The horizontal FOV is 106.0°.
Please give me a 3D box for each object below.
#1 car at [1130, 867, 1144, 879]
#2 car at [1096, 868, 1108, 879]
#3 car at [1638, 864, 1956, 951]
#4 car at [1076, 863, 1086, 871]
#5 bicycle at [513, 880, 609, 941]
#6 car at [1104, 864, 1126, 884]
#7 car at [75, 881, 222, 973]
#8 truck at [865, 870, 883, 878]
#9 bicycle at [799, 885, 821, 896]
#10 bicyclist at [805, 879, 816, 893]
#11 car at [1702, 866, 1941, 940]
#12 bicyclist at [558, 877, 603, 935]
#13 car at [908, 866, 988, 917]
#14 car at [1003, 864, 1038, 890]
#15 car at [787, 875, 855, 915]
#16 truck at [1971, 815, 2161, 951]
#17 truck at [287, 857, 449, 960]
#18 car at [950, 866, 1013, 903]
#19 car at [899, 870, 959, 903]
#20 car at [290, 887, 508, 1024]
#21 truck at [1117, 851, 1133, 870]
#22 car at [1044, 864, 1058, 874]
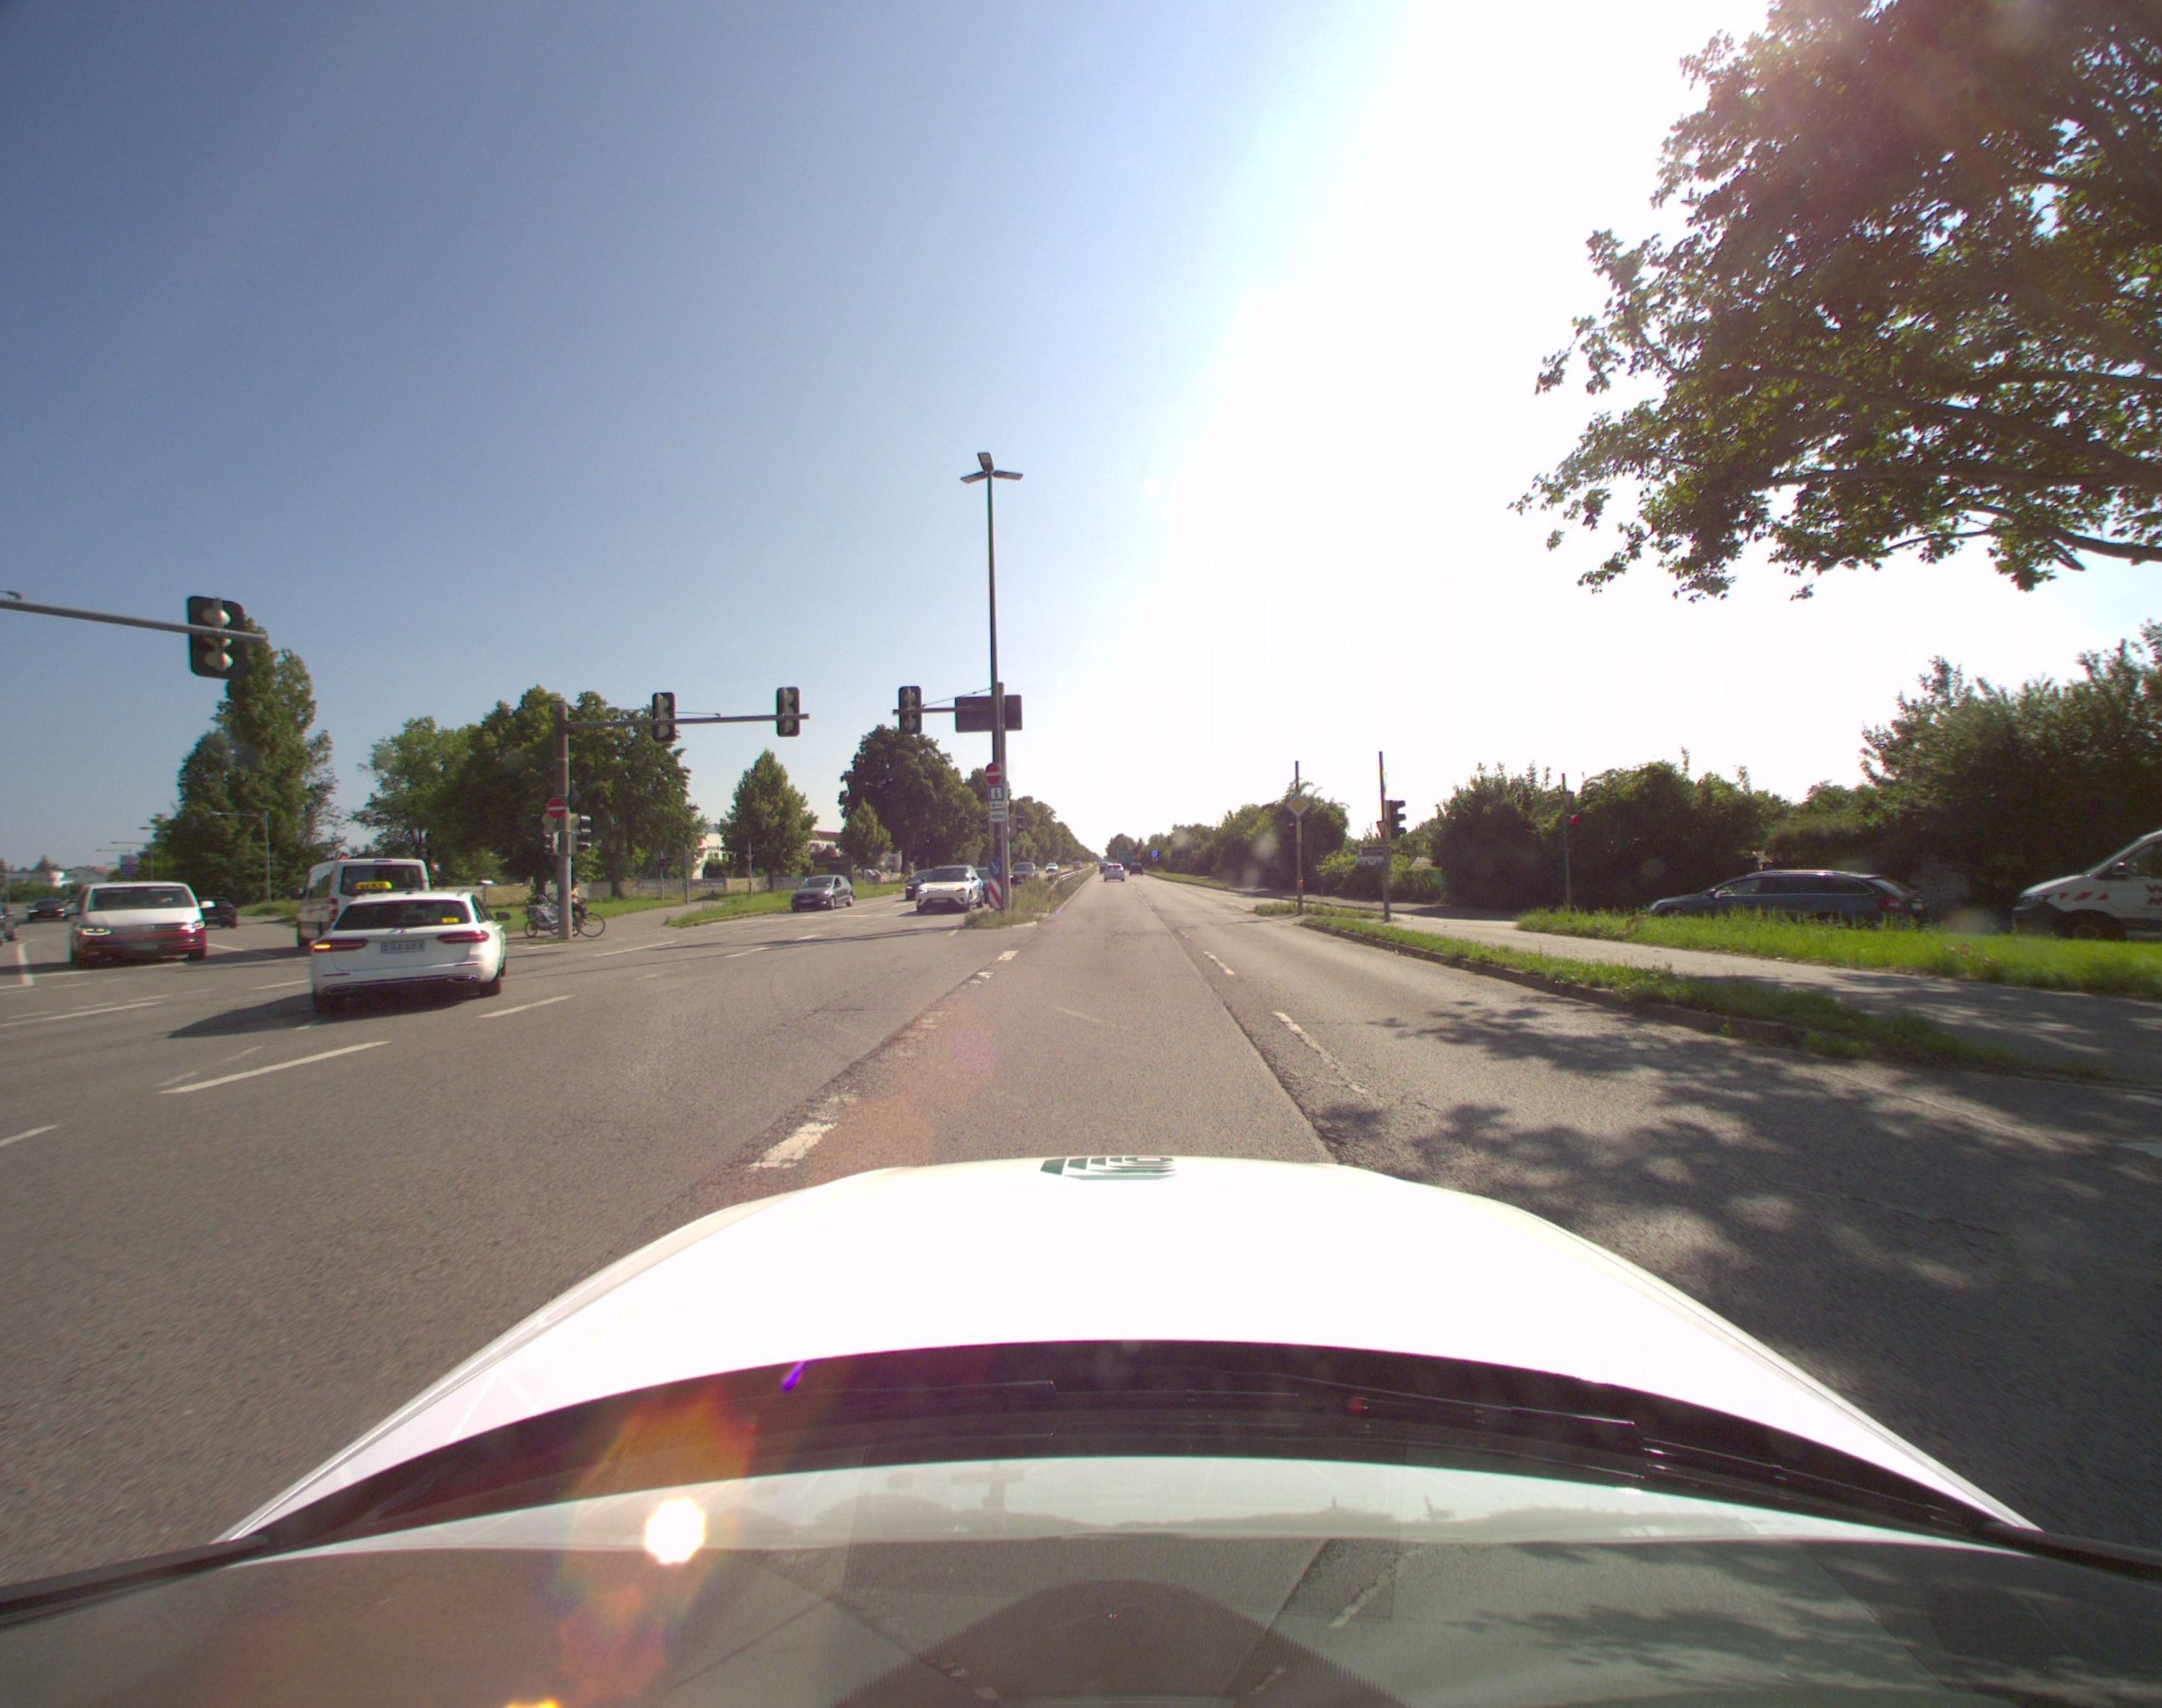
[{"bbox_3d":[6.738,2.291,98.432,1.566,1.414,3.279,0,-1,2],"label":"car"},{"bbox_3d":[2.801,2.605,108.430,1.566,1.414,3.279,-1,-1,2],"label":"car"},{"bbox_3d":[14.694,1.018,17.051,2.005,1.547,4.574,0,-1,-28],"label":"car"},{"bbox_3d":[-0.031,2.549,156.398,1.906,1.502,4.091,-1,-1,0],"label":"car"},{"bbox_3d":[-15.082,1.602,23.613,2.765,1.670,1.143,-1,-1,29],"label":"bicycle"},{"bbox_3d":[2.822,1.648,67.806,1.791,1.553,4.003,0,0,3],"label":"car"},{"bbox_3d":[-22.947,1.702,19.998,4.595,1.950,2.013,-2,-1,37],"label":"car"},{"bbox_3d":[-57.738,5.557,227.631,4.485,2.014,2.052,0,-1,1],"label":"truck"},{"bbox_3d":[-25.512,3.408,76.743,0.832,0.950,2.518,-1,-1,10],"label":"bicycle"},{"bbox_3d":[-25.480,3.026,76.754,0.605,1.217,0.896,-1,-1,11],"label":"bicyclist"},{"bbox_3d":[17.060,1.087,18.975,1.625,1.548,3.789,2,-2,-28],"label":"car"},{"bbox_3d":[-14.255,1.467,23.193,0.854,1.619,0.763,-1,-2,30],"label":"bicyclist"},{"bbox_3d":[-4.650,1.271,29.076,2.003,1.610,4.212,-2,0,1],"label":"car"},{"bbox_3d":[-3.954,1.489,53.568,1.840,1.594,4.617,-2,-1,1],"label":"car"},{"bbox_3d":[-10.860,1.683,34.273,1.480,1.414,3.764,-4,-1,2],"label":"car"},{"bbox_3d":[20.384,0.526,14.064,2.353,2.386,6.410,2,-3,-31],"label":"truck"},{"bbox_3d":[-19.457,1.368,22.111,5.962,2.389,2.396,-2,-1,40],"label":"truck"},{"bbox_3d":[-4.255,1.277,35.659,1.809,1.485,4.898,0,-1,4],"label":"car"},{"bbox_3d":[-7.442,1.551,40.325,1.922,1.437,4.270,-2,0,3],"label":"car"},{"bbox_3d":[-9.495,1.255,11.748,1.825,1.464,4.918,-2,-1,-33],"label":"car"},{"bbox_3d":[8.102,1.214,151.064,2.880,3.429,9.173,-1,-1,2],"label":"truck"},{"bbox_3d":[-4.623,2.298,127.327,1.987,1.502,4.091,-1,-1,0],"label":"car"}]
